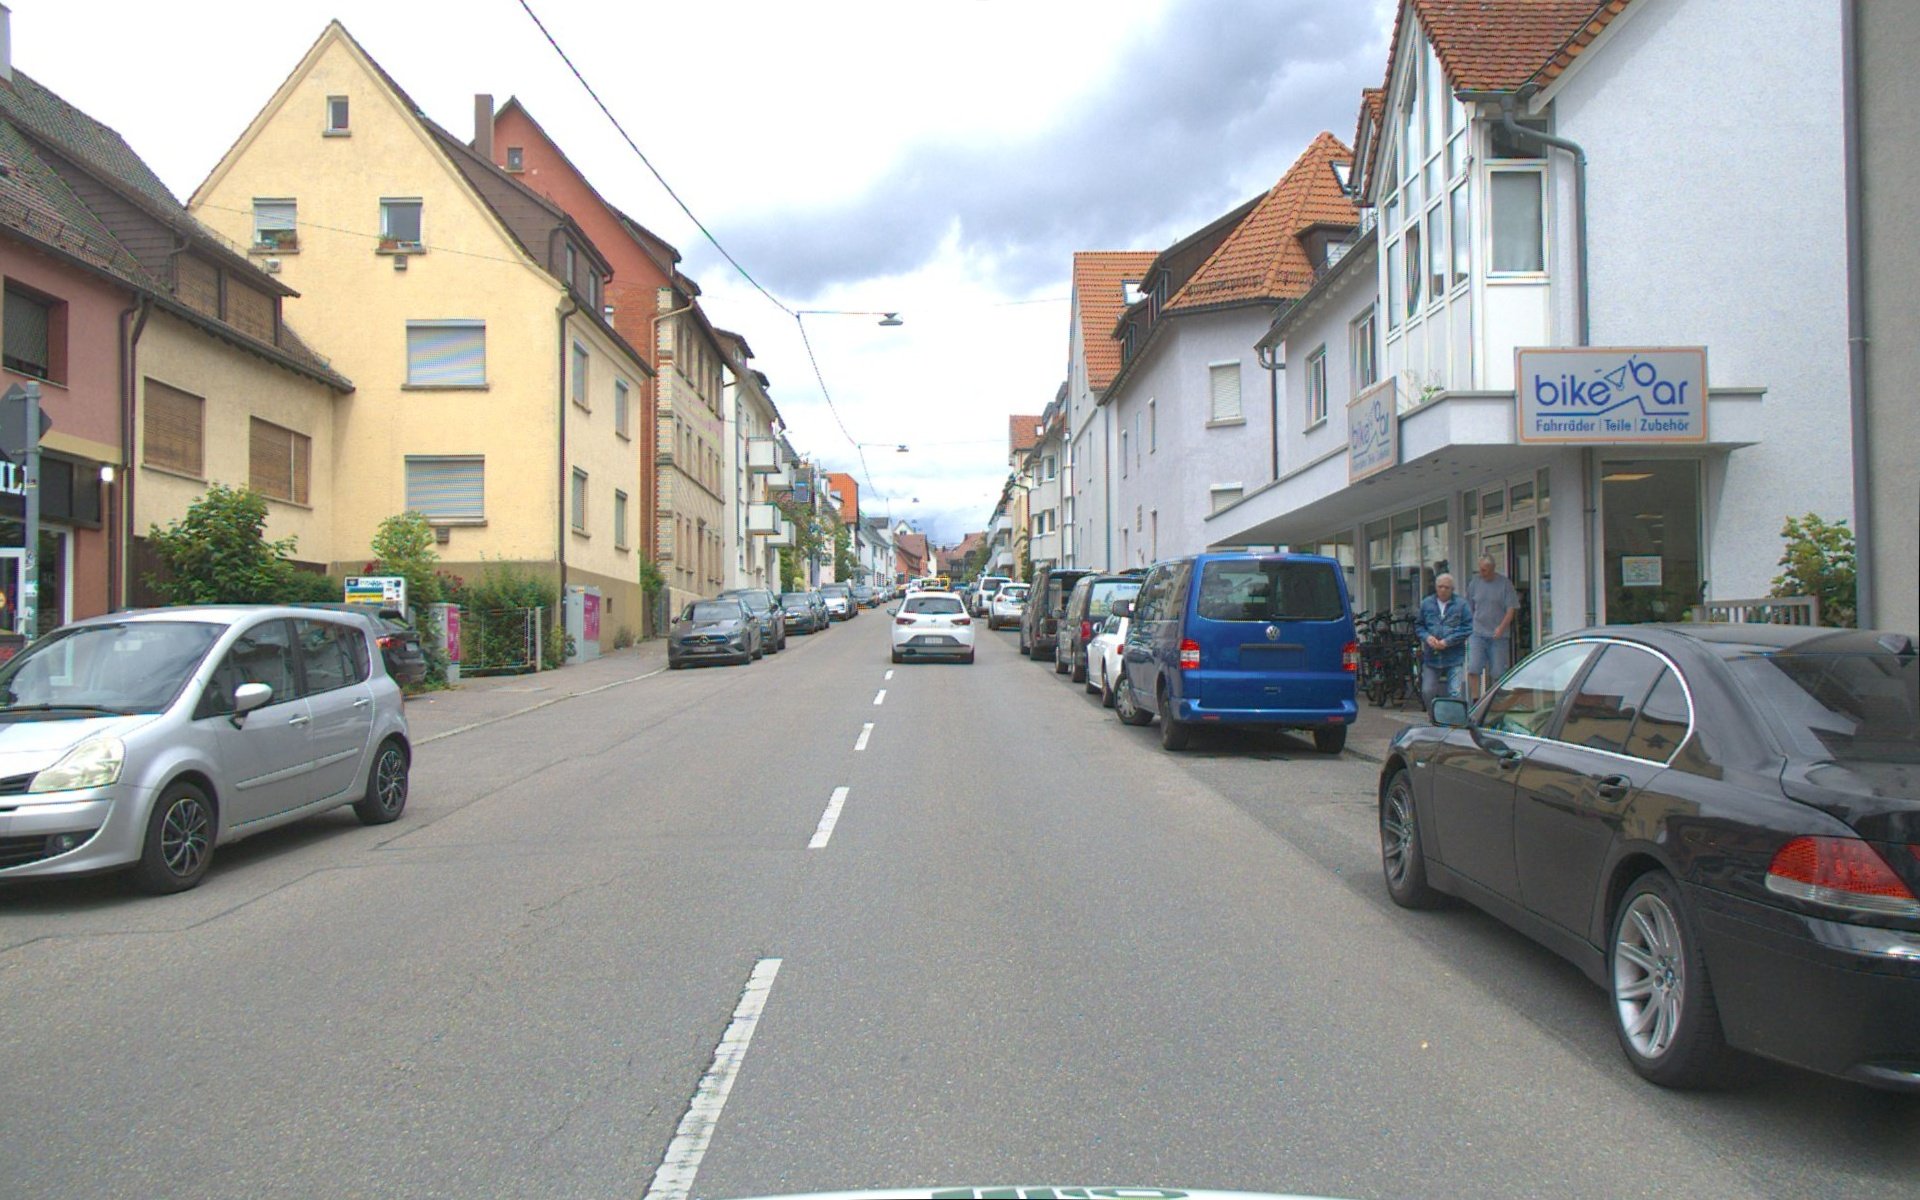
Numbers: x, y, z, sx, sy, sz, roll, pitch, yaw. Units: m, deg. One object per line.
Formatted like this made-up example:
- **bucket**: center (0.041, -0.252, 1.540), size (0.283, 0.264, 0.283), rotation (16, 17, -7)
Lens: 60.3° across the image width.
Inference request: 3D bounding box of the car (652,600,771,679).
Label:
- **car**: center (-5.488, 0.840, 37.071), size (1.953, 1.498, 4.243), rotation (-4, 1, 0)

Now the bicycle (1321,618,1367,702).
- **bicycle**: center (5.556, 0.847, 23.868), size (0.245, 1.132, 1.465), rotation (-2, 0, 28)

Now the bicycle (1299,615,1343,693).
- **bicycle**: center (5.608, 0.827, 25.676), size (0.245, 1.132, 1.465), rotation (-2, 0, 28)

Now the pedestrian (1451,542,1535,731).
- **pedestrian**: center (5.921, 0.398, 18.369), size (0.746, 2.049, 0.617), rotation (0, 0, 34)

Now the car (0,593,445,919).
- **car**: center (-4.998, 0.828, 10.474), size (1.795, 1.605, 4.034), rotation (-4, 0, 6)

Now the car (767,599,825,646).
- **car**: center (-5.766, 0.762, 58.474), size (1.609, 1.499, 4.178), rotation (-3, 0, -1)

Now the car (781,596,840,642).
- **car**: center (-5.698, 0.707, 63.421), size (1.953, 1.680, 3.999), rotation (-1, 0, -1)

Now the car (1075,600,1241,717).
- **car**: center (2.740, 0.762, 23.824), size (1.679, 1.461, 4.638), rotation (1, 0, -2)

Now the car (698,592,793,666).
- **car**: center (-5.522, 0.707, 43.078), size (1.954, 1.679, 4.552), rotation (-4, 1, -2)

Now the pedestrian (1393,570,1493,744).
- **pedestrian**: center (5.023, 0.579, 17.189), size (0.855, 1.755, 0.617), rotation (0, 0, 34)

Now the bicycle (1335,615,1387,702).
- **bicycle**: center (5.635, 0.808, 23.212), size (0.332, 1.132, 1.465), rotation (-2, 0, 28)

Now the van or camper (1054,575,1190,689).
- **van or camper**: center (2.835, 0.521, 29.980), size (1.833, 1.860, 4.678), rotation (1, 0, -2)

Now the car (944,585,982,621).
- **car**: center (0.151, 0.159, 98.694), size (1.954, 2.049, 3.997), rotation (-1, 0, -4)

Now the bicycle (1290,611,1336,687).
- **bicycle**: center (5.651, 0.767, 26.441), size (0.245, 1.180, 1.464), rotation (-2, -1, 31)

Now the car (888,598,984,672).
- **car**: center (-0.526, 0.697, 35.044), size (1.901, 1.464, 3.999), rotation (0, 0, -2)

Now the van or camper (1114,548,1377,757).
- **van or camper**: center (2.918, 0.483, 18.017), size (1.887, 1.959, 4.829), rotation (0, 0, -2)

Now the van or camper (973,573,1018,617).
- **van or camper**: center (1.735, -0.258, 81.907), size (1.902, 2.090, 4.560), rotation (0, 0, -3)

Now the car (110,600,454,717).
- **car**: center (-9.758, 0.860, 24.049), size (4.143, 1.498, 1.999), rotation (-2, -3, -1)

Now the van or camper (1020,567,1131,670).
- **van or camper**: center (2.533, 0.361, 37.615), size (1.953, 2.102, 5.943), rotation (2, 0, -1)

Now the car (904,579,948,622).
- **car**: center (-1.732, 0.029, 82.034), size (2.109, 2.049, 3.998), rotation (1, 0, -2)

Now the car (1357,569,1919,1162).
- **car**: center (3.253, 0.708, 6.787), size (1.953, 1.544, 4.890), rotation (1, 0, -1)

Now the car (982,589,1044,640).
- **car**: center (1.895, 0.498, 59.806), size (1.902, 1.722, 3.998), rotation (2, 0, -2)

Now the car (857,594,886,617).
- **car**: center (-6.552, 0.386, 122.596), size (1.953, 1.680, 4.178), rotation (-1, 0, -1)

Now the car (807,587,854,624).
- **car**: center (-6.153, 0.246, 79.035), size (1.953, 1.680, 3.999), rotation (-1, 0, -1)
